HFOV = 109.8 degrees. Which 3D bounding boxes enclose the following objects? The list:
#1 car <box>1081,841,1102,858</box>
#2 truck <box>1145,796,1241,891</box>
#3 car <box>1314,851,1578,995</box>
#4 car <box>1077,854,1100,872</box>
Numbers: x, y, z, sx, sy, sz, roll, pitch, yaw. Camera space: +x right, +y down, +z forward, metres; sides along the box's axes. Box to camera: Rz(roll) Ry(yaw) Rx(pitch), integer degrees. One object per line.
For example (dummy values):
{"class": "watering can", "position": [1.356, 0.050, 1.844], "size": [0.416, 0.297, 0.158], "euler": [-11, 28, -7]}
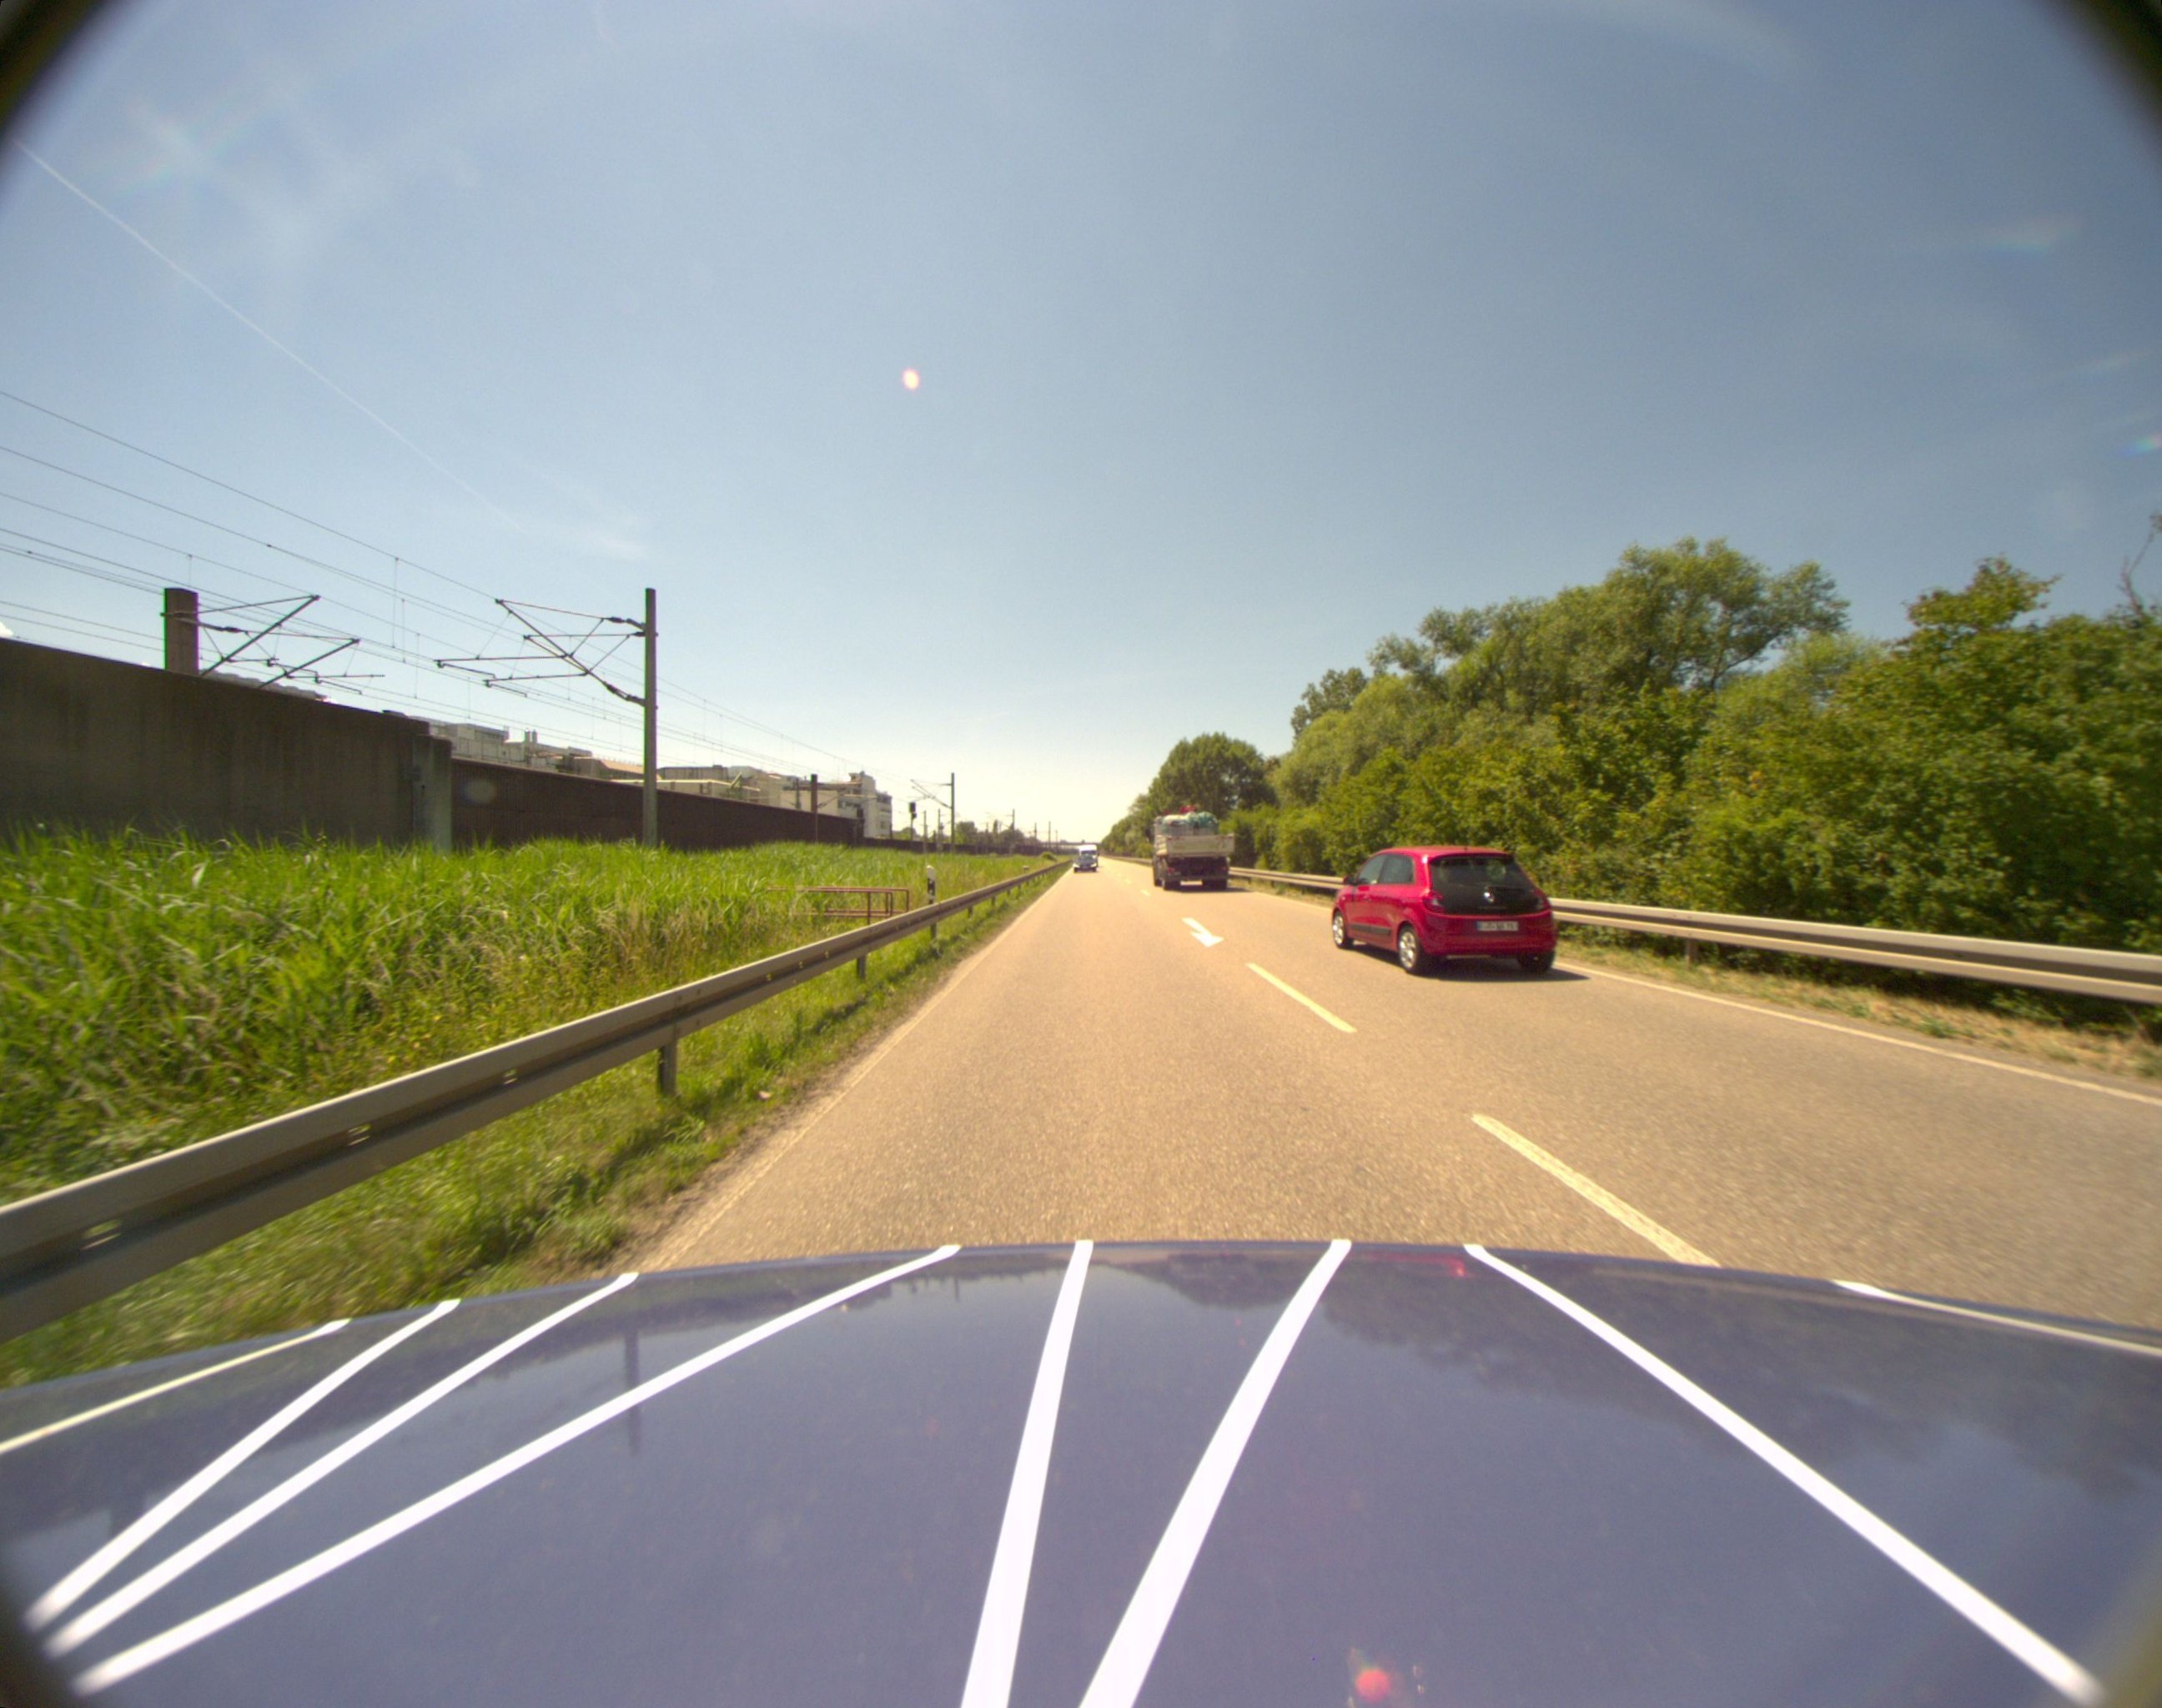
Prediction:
{"class": "car", "position": [1.135, -0.471, 84.285], "size": [2.161, 1.701, 4.493], "euler": [-2, 0, 1]}
{"class": "truck", "position": [4.468, -0.390, 31.958], "size": [2.791, 3.385, 7.988], "euler": [-2, 0, 0]}
{"class": "car", "position": [4.606, 0.745, 10.299], "size": [1.657, 1.543, 4.000], "euler": [-1, 0, 0]}
{"class": "car", "position": [0.594, 0.701, 61.979], "size": [1.758, 1.313, 4.000], "euler": [-2, 0, 1]}
